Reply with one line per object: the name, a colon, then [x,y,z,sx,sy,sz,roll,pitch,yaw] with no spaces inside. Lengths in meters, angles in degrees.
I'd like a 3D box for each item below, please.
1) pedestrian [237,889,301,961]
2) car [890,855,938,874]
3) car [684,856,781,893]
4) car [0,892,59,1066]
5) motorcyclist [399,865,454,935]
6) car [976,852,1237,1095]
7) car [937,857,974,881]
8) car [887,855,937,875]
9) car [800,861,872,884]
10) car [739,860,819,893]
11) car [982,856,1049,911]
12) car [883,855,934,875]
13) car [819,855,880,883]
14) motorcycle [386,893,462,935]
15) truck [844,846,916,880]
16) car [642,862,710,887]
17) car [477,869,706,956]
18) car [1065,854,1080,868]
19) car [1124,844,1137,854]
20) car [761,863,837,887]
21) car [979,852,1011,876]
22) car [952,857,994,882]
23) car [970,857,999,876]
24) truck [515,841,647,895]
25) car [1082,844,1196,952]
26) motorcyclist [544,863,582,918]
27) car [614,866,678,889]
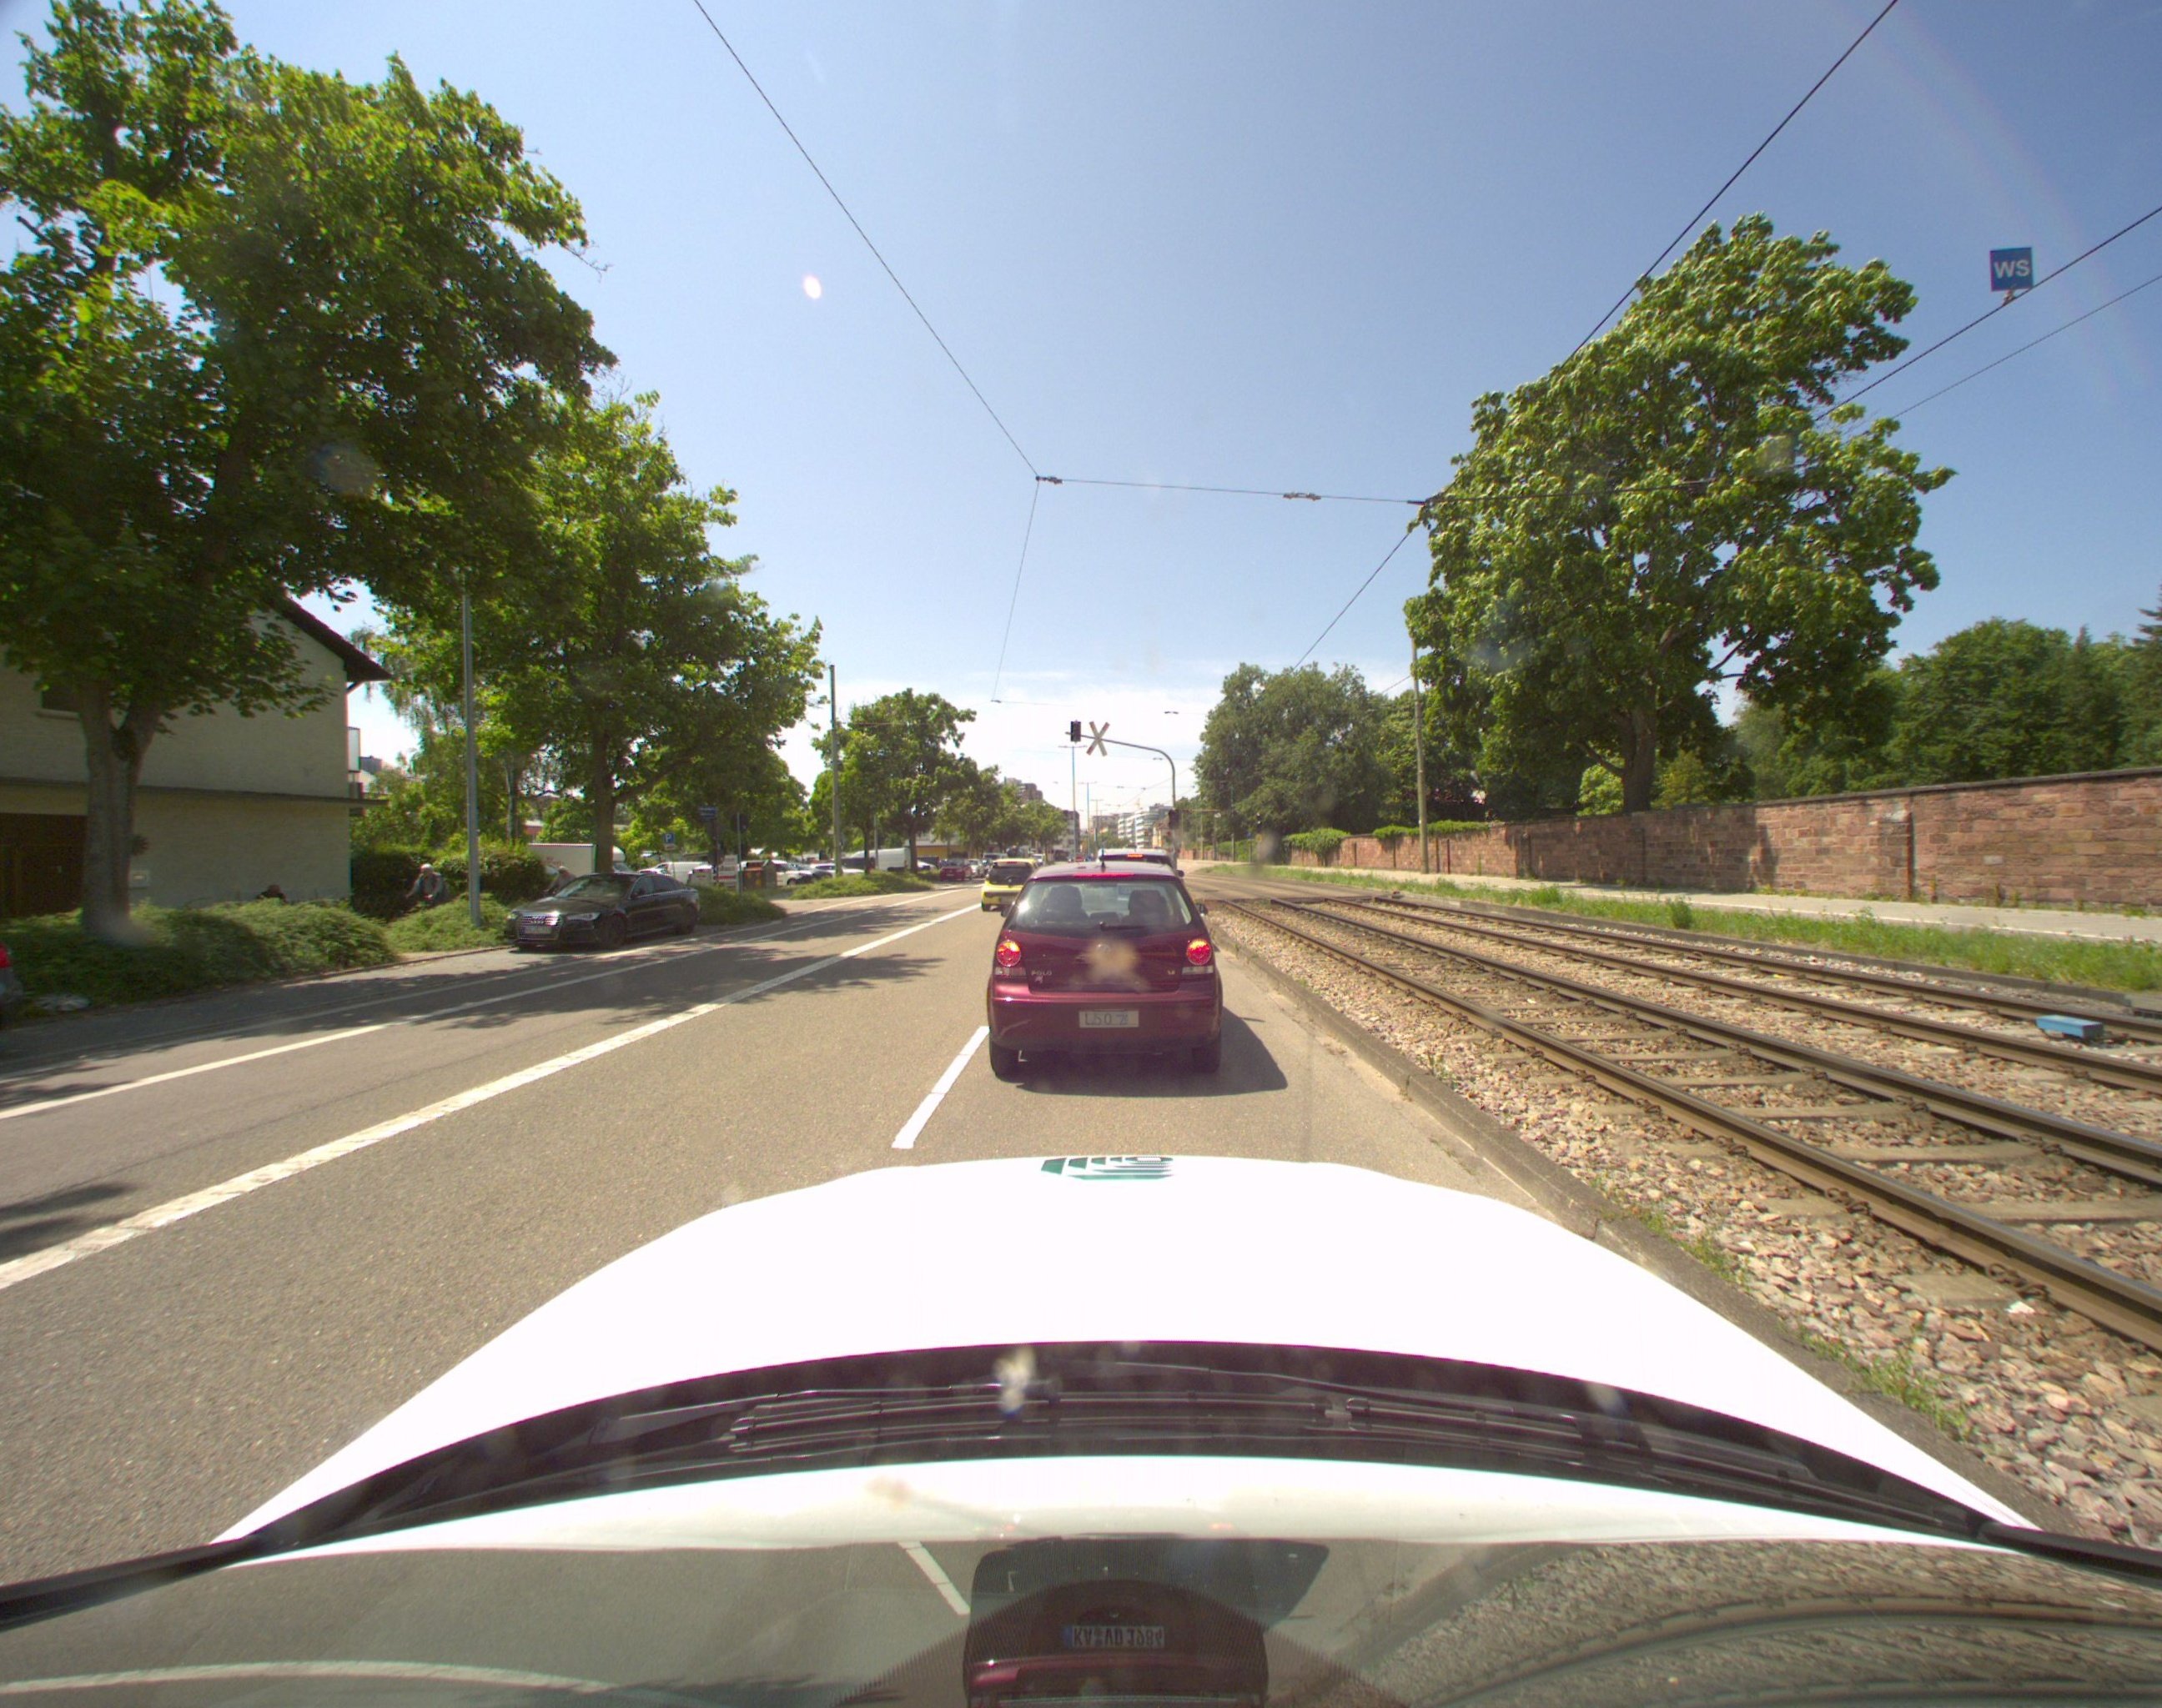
pedestrian: [-17.995,1.561,18.059,0.789,1.510,0.610,-2,0,8]
car: [-17.761,1.107,86.835,4.702,1.813,1.797,-2,0,0]
car: [-19.372,1.123,45.382,4.438,1.857,2.059,-2,0,-3]
car: [-10.235,1.099,5.387,1.670,1.486,4.130,0,0,2]
motorcyclist: [-14.661,1.015,18.262,0.584,1.503,0.726,1,0,3]
car: [0.220,0.737,7.050,1.603,1.498,4.002,0,0,2]
car: [-8.361,0.960,54.544,1.664,1.546,3.731,0,-1,4]
car: [-17.476,1.120,84.477,4.702,1.813,1.797,-2,0,0]
car: [-18.315,1.381,61.055,4.745,1.488,2.058,-2,0,0]
car: [-18.565,1.378,50.136,4.247,1.835,1.675,-2,0,4]
car: [-1.808,0.780,23.415,1.545,1.448,3.413,0,0,2]
car: [-17.481,1.113,82.525,4.702,1.813,1.797,-2,0,0]
car: [-18.096,1.143,63.763,4.195,1.995,1.857,-2,0,0]
motorcycle: [-14.663,1.328,18.222,0.524,0.825,1.372,1,0,3]
truck: [-17.703,0.755,71.832,5.555,2.759,2.434,-2,0,3]
car: [-30.678,1.554,61.778,4.112,1.820,1.971,-1,0,1]
car: [-9.870,1.092,16.996,1.888,1.456,4.809,0,0,0]
car: [-1.159,0.957,118.492,1.911,1.910,4.573,-3,0,2]
car: [9.390,-0.940,155.037,1.914,1.910,4.566,-2,0,-3]
car: [-18.307,1.345,53.100,4.185,1.403,2.079,-2,0,-2]
car: [-7.540,0.833,71.561,1.854,1.937,4.811,2,0,4]
car: [-8.063,1.159,61.368,1.709,1.426,4.783,-9,0,9]
car: [-7.853,0.985,66.405,1.607,1.484,3.789,2,0,4]
truck: [-31.579,0.844,51.626,6.954,3.227,2.150,-1,0,0]
car: [0.986,0.692,14.865,1.788,1.683,4.002,0,0,2]
motorcyclist: [-14.381,1.001,22.618,0.584,1.503,0.663,1,0,3]
car: [-31.672,1.719,59.381,3.733,1.576,1.733,-1,0,1]
